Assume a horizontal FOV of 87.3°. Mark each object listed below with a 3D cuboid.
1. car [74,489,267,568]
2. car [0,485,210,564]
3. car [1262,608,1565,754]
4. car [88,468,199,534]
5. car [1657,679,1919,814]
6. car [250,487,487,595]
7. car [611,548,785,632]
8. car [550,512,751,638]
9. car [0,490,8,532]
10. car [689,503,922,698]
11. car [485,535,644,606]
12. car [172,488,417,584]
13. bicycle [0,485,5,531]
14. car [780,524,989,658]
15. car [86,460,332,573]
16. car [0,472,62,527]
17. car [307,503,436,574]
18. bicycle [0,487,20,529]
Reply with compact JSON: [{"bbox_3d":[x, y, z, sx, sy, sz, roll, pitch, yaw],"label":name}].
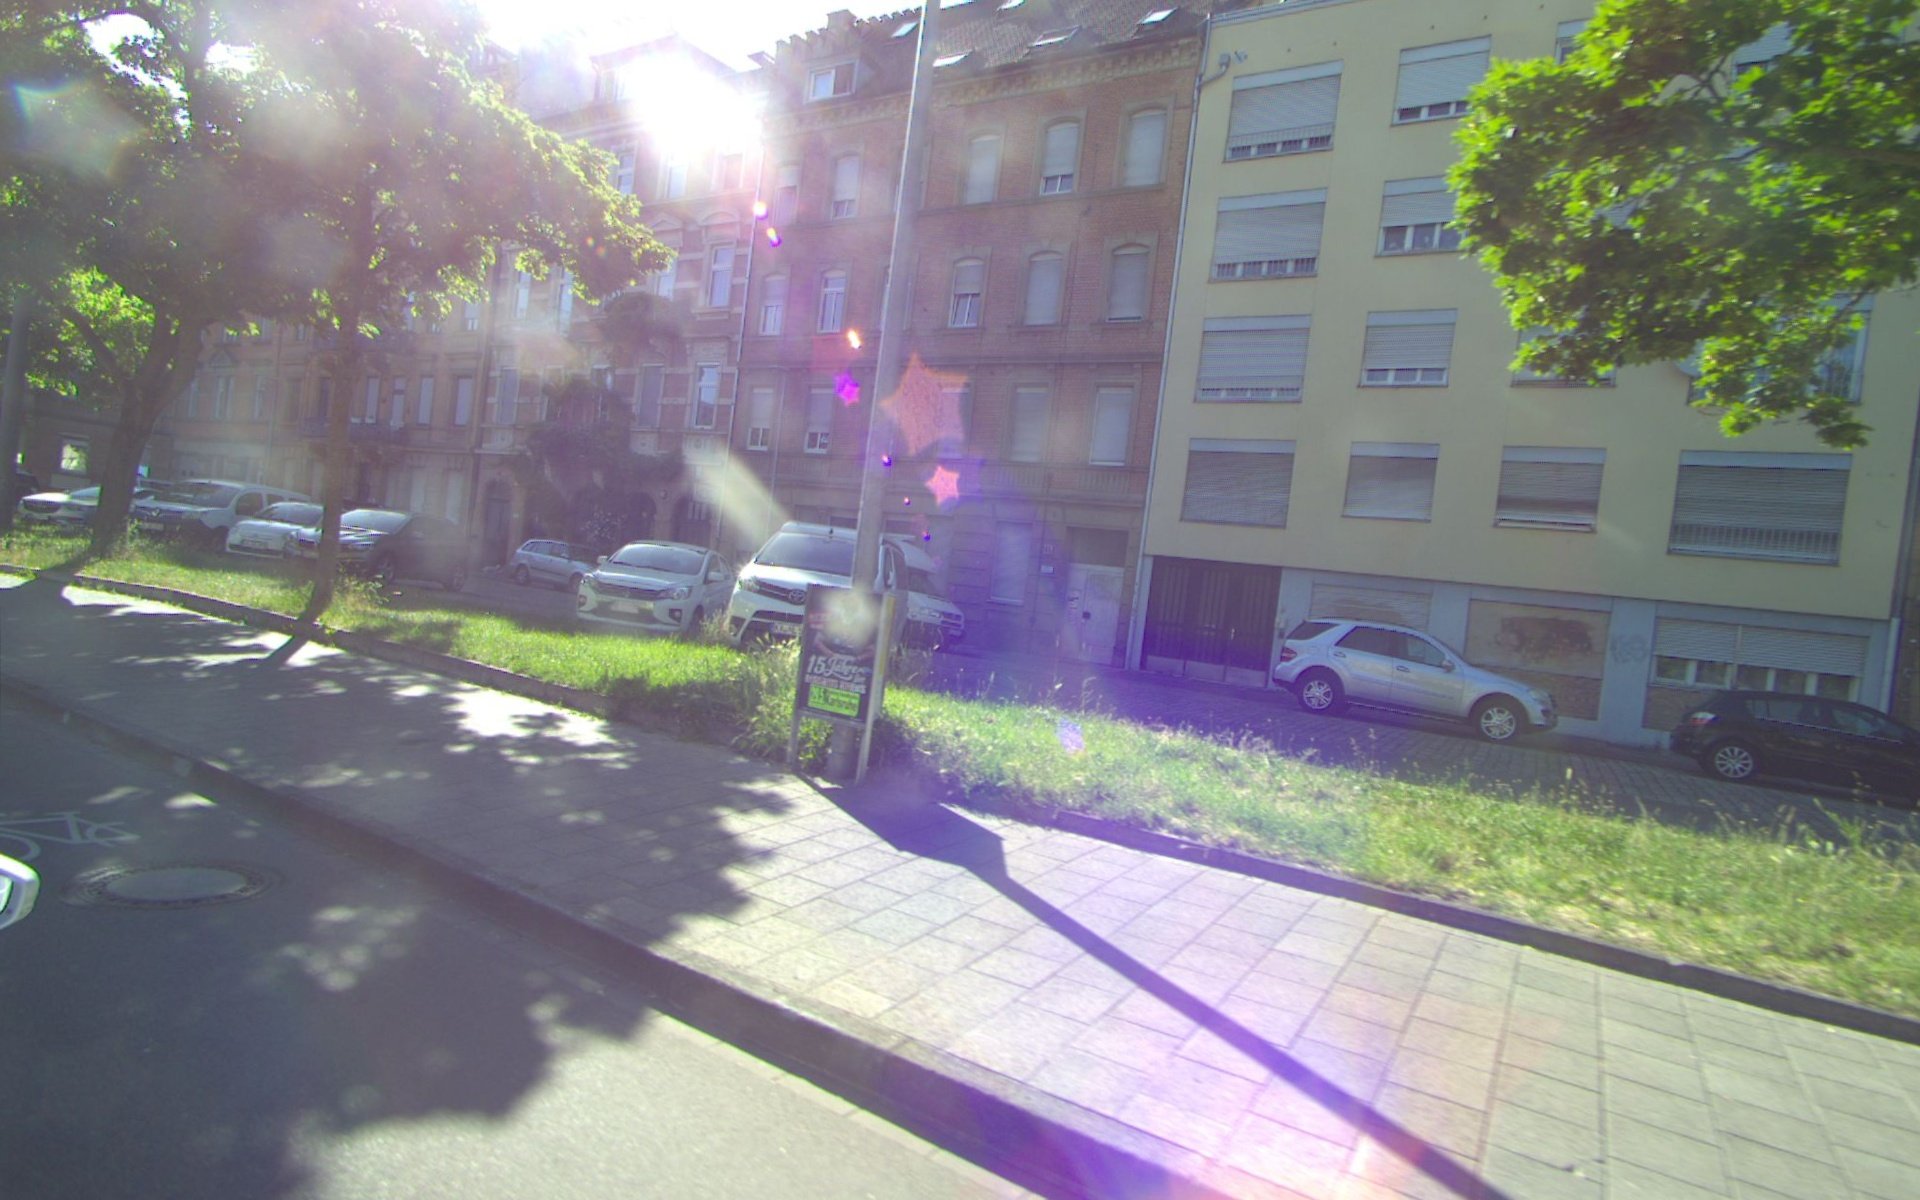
[{"bbox_3d":[-19.651,-1.716,25.265,1.890,1.396,3.615,7,-1,-1],"label":"car"},{"bbox_3d":[-22.381,-1.899,26.244,2.009,1.396,4.753,7,-1,-1],"label":"car"},{"bbox_3d":[8.029,1.351,17.936,4.549,1.822,1.995,7,1,32],"label":"car"},{"bbox_3d":[-37.254,-4.523,45.877,5.103,2.387,2.350,7,1,33],"label":"car"},{"bbox_3d":[13.034,2.201,15.006,4.095,1.438,1.880,7,0,32],"label":"car"},{"bbox_3d":[-11.998,-1.106,20.844,1.962,1.749,4.512,6,0,3],"label":"car"},{"bbox_3d":[-7.192,-0.287,27.466,4.439,1.711,1.996,7,-1,33],"label":"car"},{"bbox_3d":[-4.562,-0.339,15.481,1.779,1.497,4.028,6,0,-1],"label":"car"},{"bbox_3d":[-35.618,-3.393,34.550,1.726,1.458,3.848,7,-1,12],"label":"car"},{"bbox_3d":[-1.898,0.016,14.233,2.061,2.038,5.187,6,0,3],"label":"car"},{"bbox_3d":[-11.977,-0.891,30.415,4.435,1.548,1.997,7,1,28],"label":"car"},{"bbox_3d":[-14.928,-1.345,22.992,2.061,1.668,4.880,6,0,3],"label":"car"},{"bbox_3d":[-26.278,-2.537,26.112,0.885,1.195,1.946,6,0,31],"label":"bicycle"},{"bbox_3d":[-1.849,-0.246,24.027,4.440,2.618,1.994,7,1,34],"label":"car"},{"bbox_3d":[-17.327,-1.819,23.620,2.062,2.038,4.877,6,0,-2],"label":"car"},{"bbox_3d":[-32.909,-3.576,33.448,1.902,1.584,4.473,7,-1,1],"label":"car"},{"bbox_3d":[-21.271,-2.243,36.309,4.646,2.003,1.995,7,1,33],"label":"car"},{"bbox_3d":[-28.567,-2.798,28.822,0.808,1.172,2.168,6,-2,28],"label":"bicycle"}]
